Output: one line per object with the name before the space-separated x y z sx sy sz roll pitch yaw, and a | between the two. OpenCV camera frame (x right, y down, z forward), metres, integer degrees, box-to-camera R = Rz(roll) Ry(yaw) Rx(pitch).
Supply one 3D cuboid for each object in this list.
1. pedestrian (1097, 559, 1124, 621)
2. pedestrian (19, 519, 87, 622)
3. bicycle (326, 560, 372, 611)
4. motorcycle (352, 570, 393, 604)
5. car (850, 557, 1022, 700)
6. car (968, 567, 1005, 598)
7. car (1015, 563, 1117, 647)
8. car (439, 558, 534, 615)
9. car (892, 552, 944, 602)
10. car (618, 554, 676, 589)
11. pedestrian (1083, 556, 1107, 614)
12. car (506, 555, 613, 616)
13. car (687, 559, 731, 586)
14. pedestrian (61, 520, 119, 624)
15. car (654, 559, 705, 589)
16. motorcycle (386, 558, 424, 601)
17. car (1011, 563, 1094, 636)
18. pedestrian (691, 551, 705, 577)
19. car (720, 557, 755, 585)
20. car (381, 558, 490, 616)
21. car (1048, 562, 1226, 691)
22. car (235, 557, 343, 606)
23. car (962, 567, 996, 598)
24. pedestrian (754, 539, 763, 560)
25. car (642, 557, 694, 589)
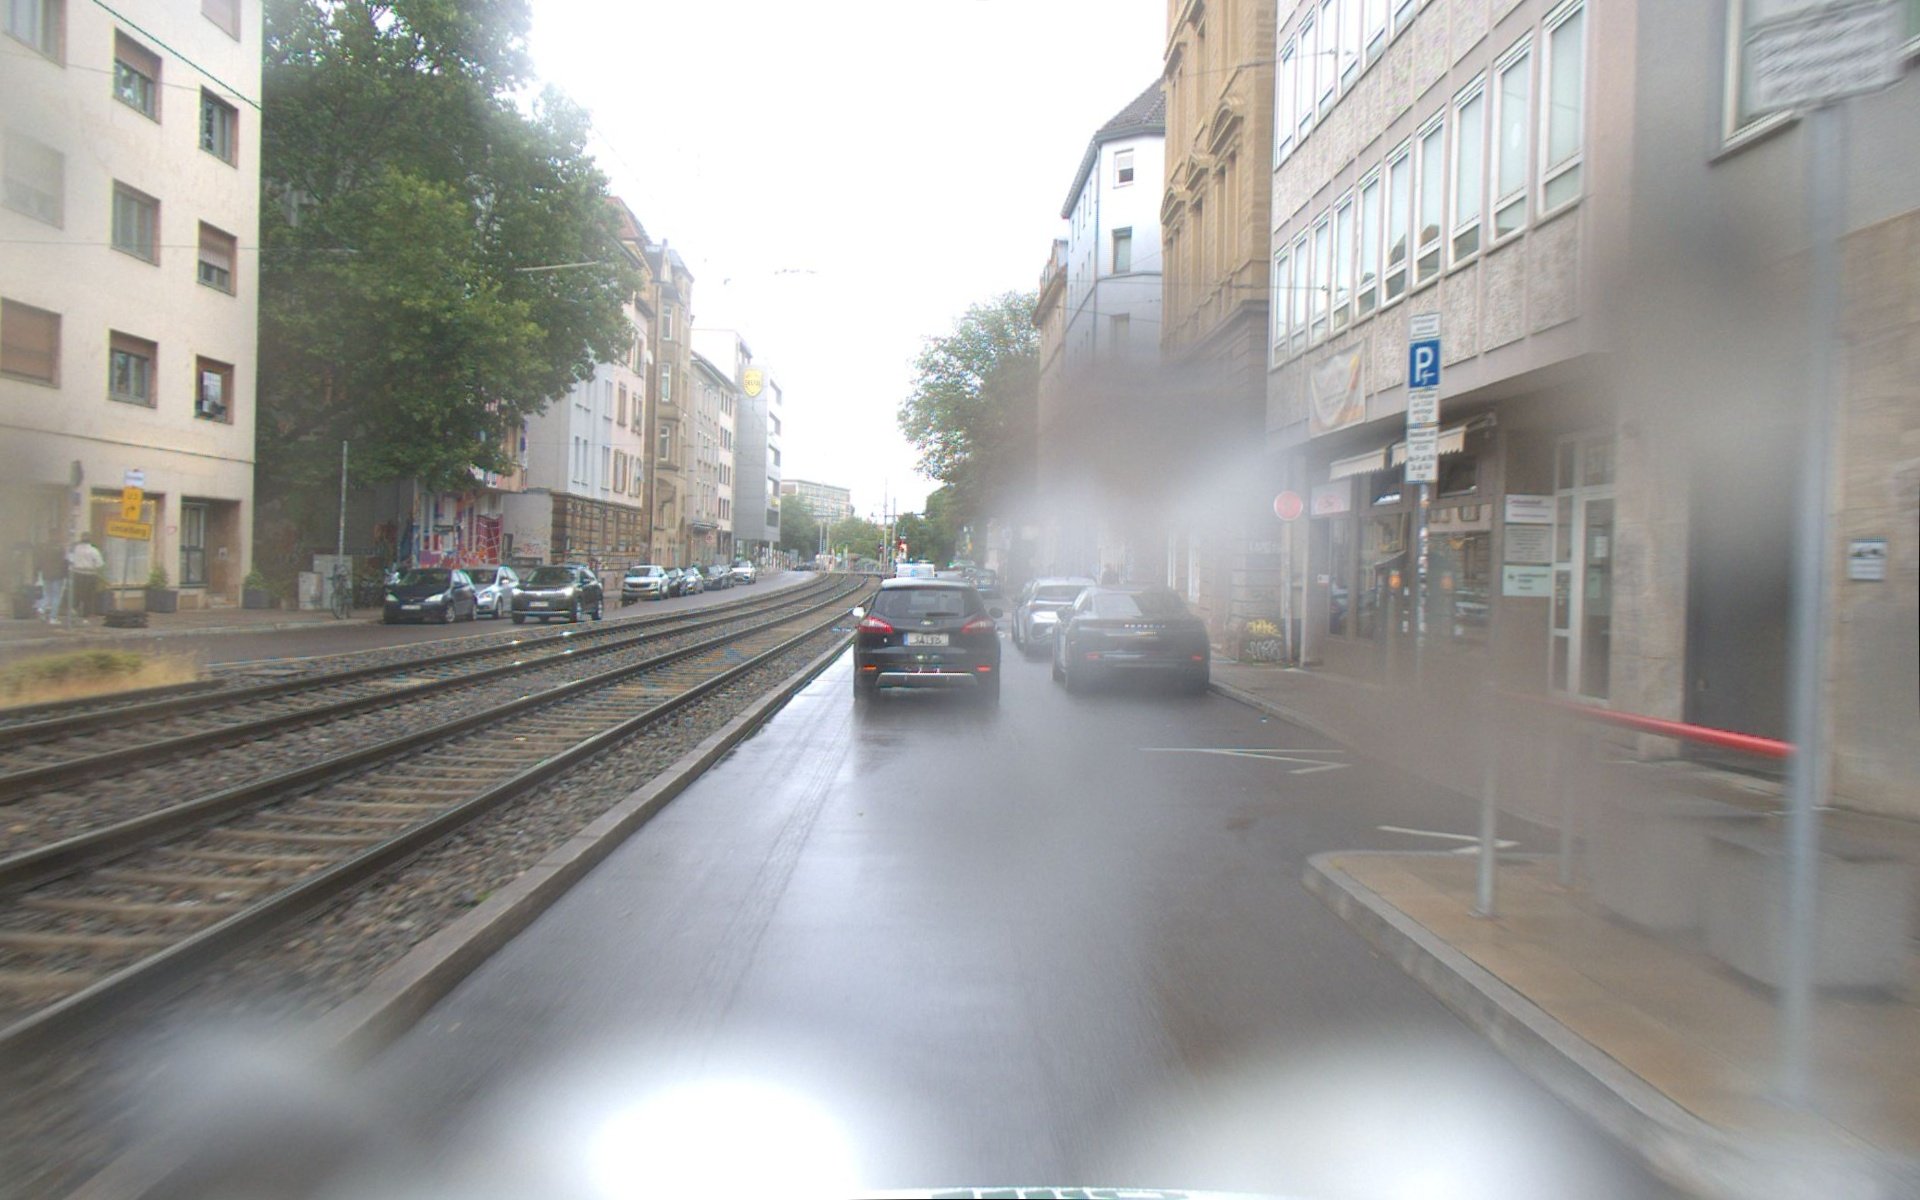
pedestrian | 5.020 -0.334 55.165 0.721 2.048 0.821 1 1 -2
pedestrian | -17.351 -0.560 31.653 0.712 1.929 0.983 2 0 -1
bicycle | -15.596 -0.387 42.286 0.580 1.248 2.399 2 0 -8
motorcycle | -18.846 -0.416 53.085 0.626 1.051 2.119 2 1 -3
car | -0.299 0.314 21.139 1.953 1.621 4.271 1 0 -1
car | 1.383 -0.921 86.388 1.704 1.514 3.999 2 2 -2
car | 2.142 0.054 34.479 1.711 1.549 4.354 2 2 -2
car | -14.258 -0.423 50.033 1.687 1.597 4.219 2 1 -1
car | -1.609 -0.893 64.746 1.953 1.848 4.271 1 0 -1
car | -14.730 -1.337 78.125 1.953 1.545 4.434 2 1 -1
pedestrian | 4.506 -0.508 55.112 0.648 1.884 0.821 1 1 -2
car | -11.071 -0.422 46.002 1.953 1.545 4.443 2 1 -1
car | -15.086 -1.672 99.609 1.953 1.545 4.675 2 1 -1
pedestrian | -16.651 -0.533 31.658 0.665 1.929 0.742 2 0 -1
car | -15.071 -1.408 89.088 1.953 1.545 4.991 2 1 -1
motorcycle | -18.710 -0.704 55.759 0.626 1.403 2.119 2 1 -3
car | 2.138 -0.056 39.316 1.685 1.542 4.259 2 2 0
pedestrian | -17.761 -2.437 112.253 0.785 1.780 0.984 2 1 -2
car | -15.755 -2.043 117.354 1.953 1.871 5.069 2 1 -2
car | -14.249 -0.387 45.156 1.708 1.494 4.219 0 1 -1
car | 2.378 0.325 23.346 1.953 1.621 4.571 1 0 -1
car | -21.462 -0.628 53.062 1.953 1.479 3.999 1 1 -2
car | 1.026 -0.986 90.975 1.609 1.542 4.038 2 2 -2
pedestrian | -18.250 -4.589 149.741 0.729 1.886 0.839 1 0 -2
car | -14.879 -1.377 84.386 1.953 1.545 4.208 2 1 -1
